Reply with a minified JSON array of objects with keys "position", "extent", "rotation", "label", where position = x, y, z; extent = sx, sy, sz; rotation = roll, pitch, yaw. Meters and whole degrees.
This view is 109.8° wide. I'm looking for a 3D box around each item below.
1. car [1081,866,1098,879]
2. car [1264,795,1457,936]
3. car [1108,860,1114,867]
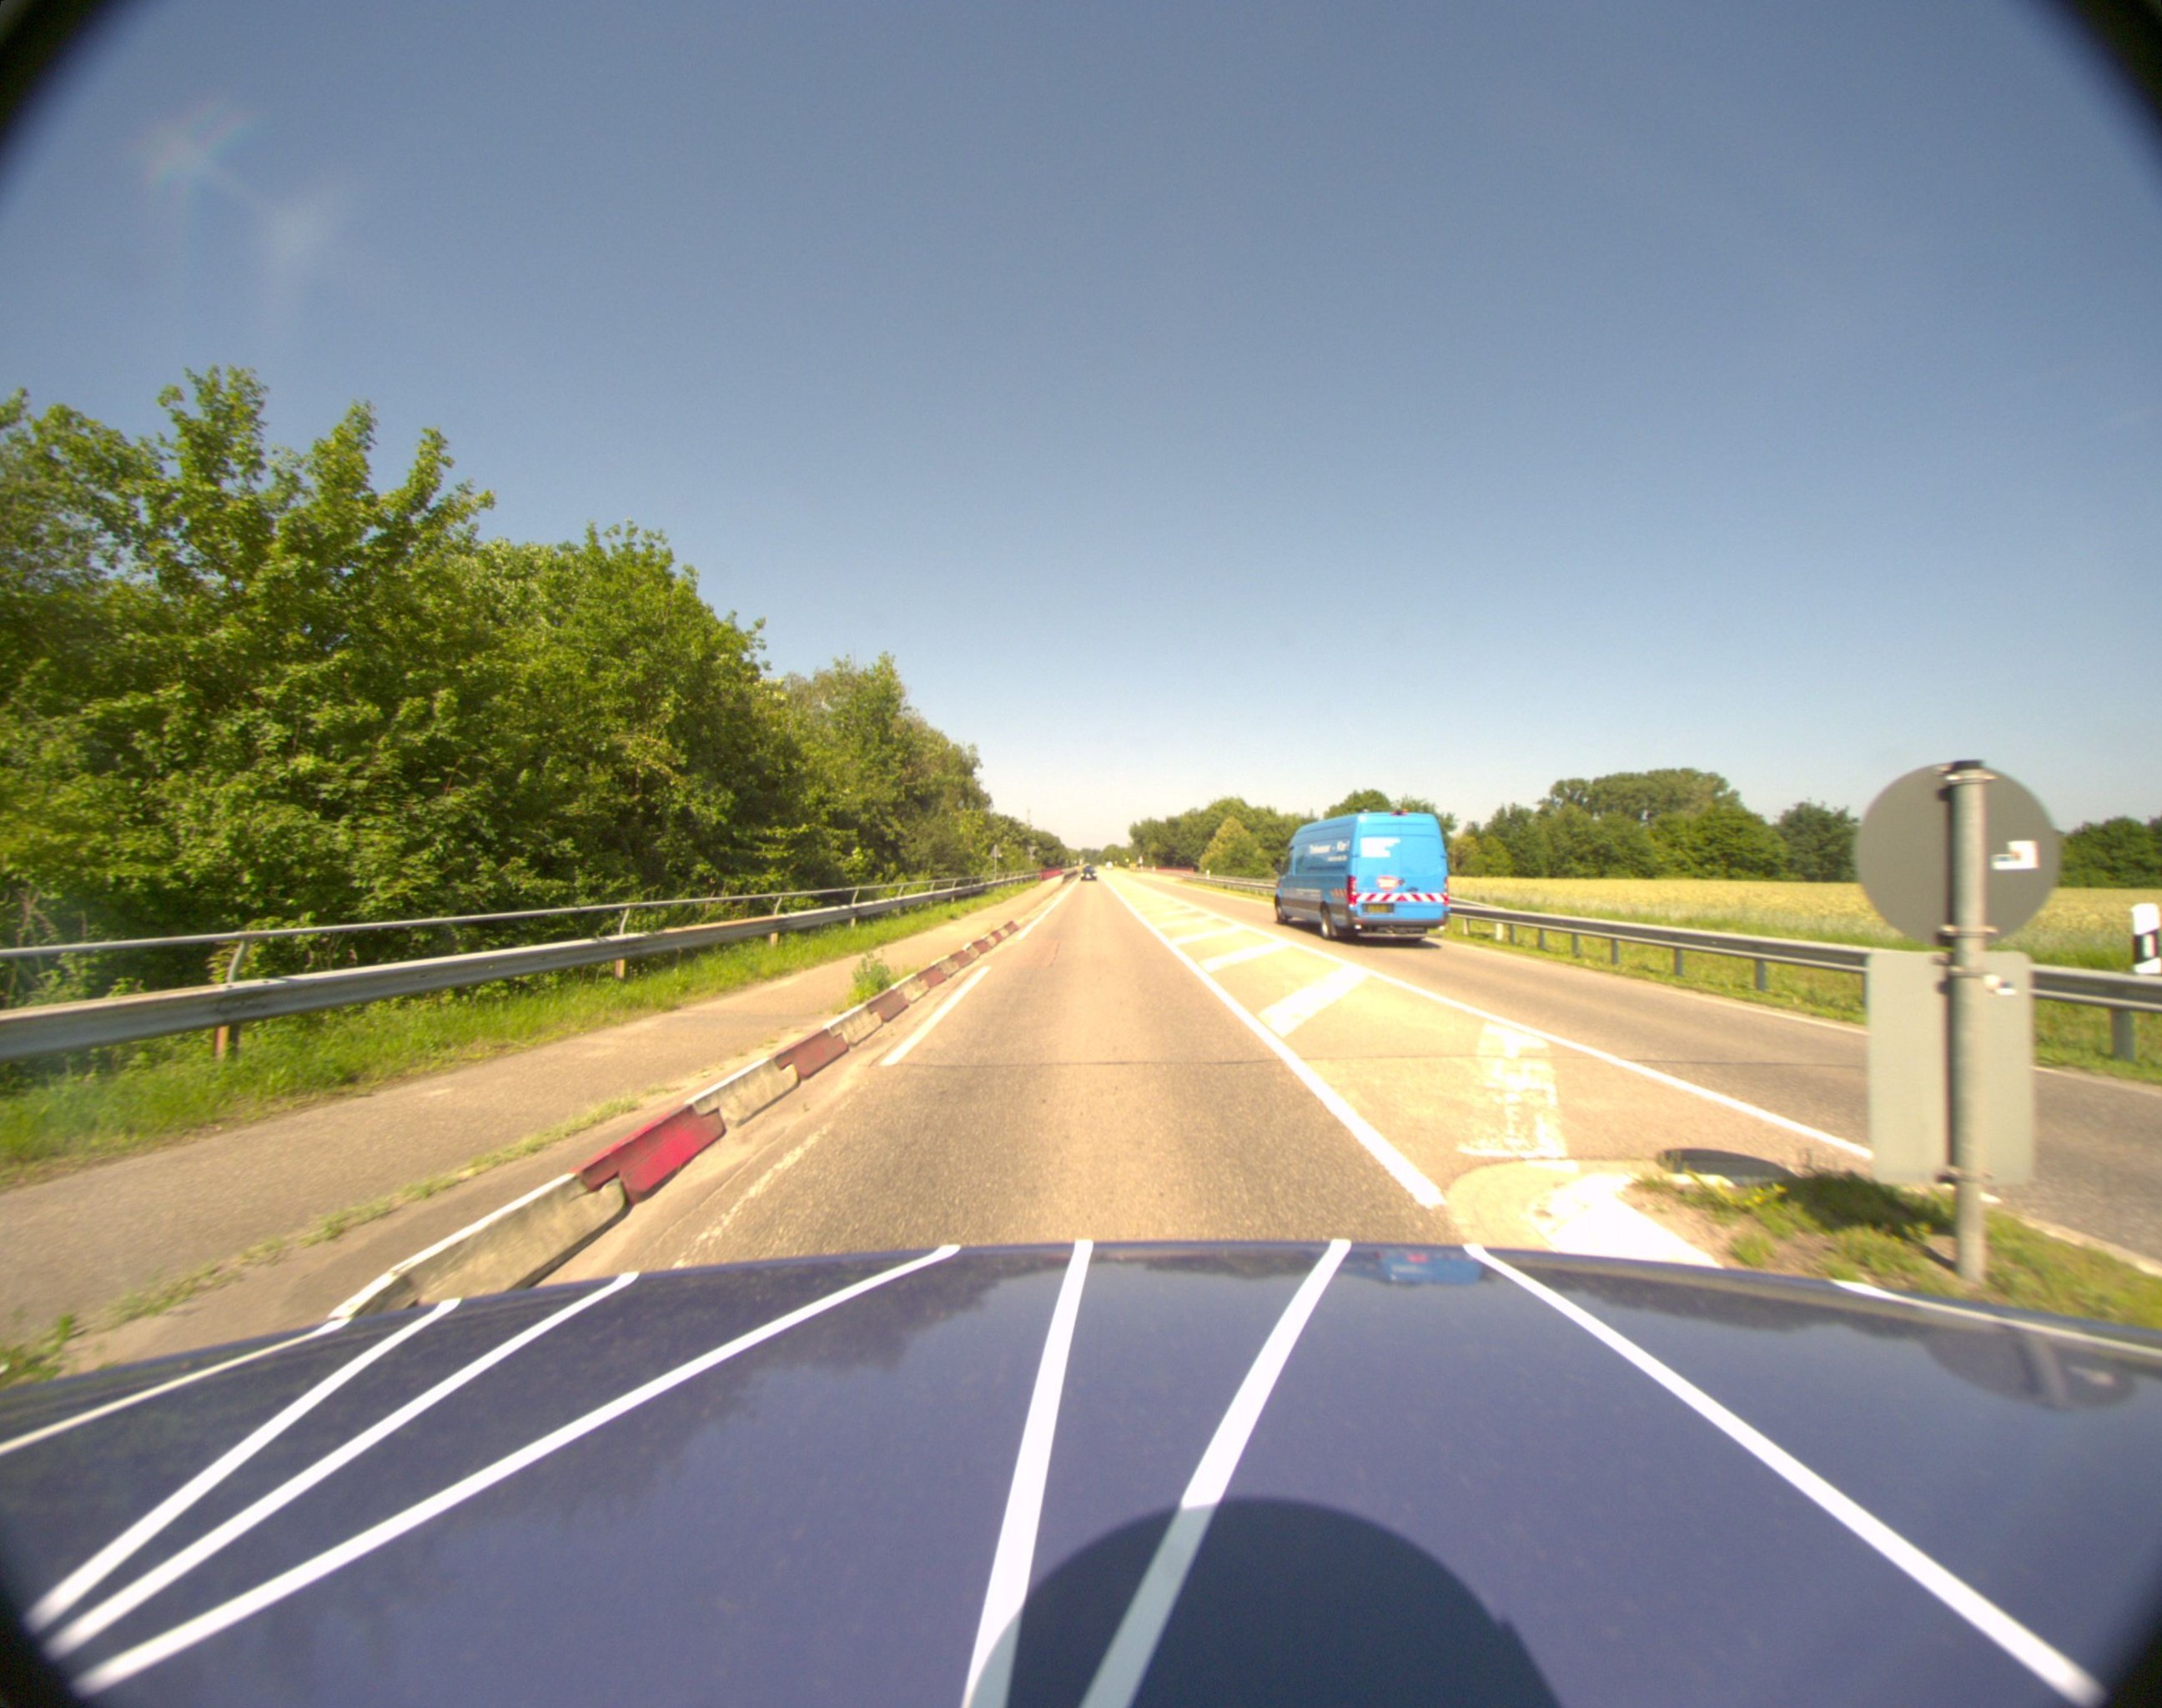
[{"position":[1.006,1.994,84.019],"extent":[1.806,1.390,4.181],"rotation":[-1,-1,2],"label":"car"},{"position":[6.163,0.266,18.013],"extent":[1.998,2.595,7.292],"rotation":[2,-1,2],"label":"car"},{"position":[10.252,3.276,258.769],"extent":[1.895,2.213,7.233],"rotation":[-1,-1,2],"label":"car"}]
